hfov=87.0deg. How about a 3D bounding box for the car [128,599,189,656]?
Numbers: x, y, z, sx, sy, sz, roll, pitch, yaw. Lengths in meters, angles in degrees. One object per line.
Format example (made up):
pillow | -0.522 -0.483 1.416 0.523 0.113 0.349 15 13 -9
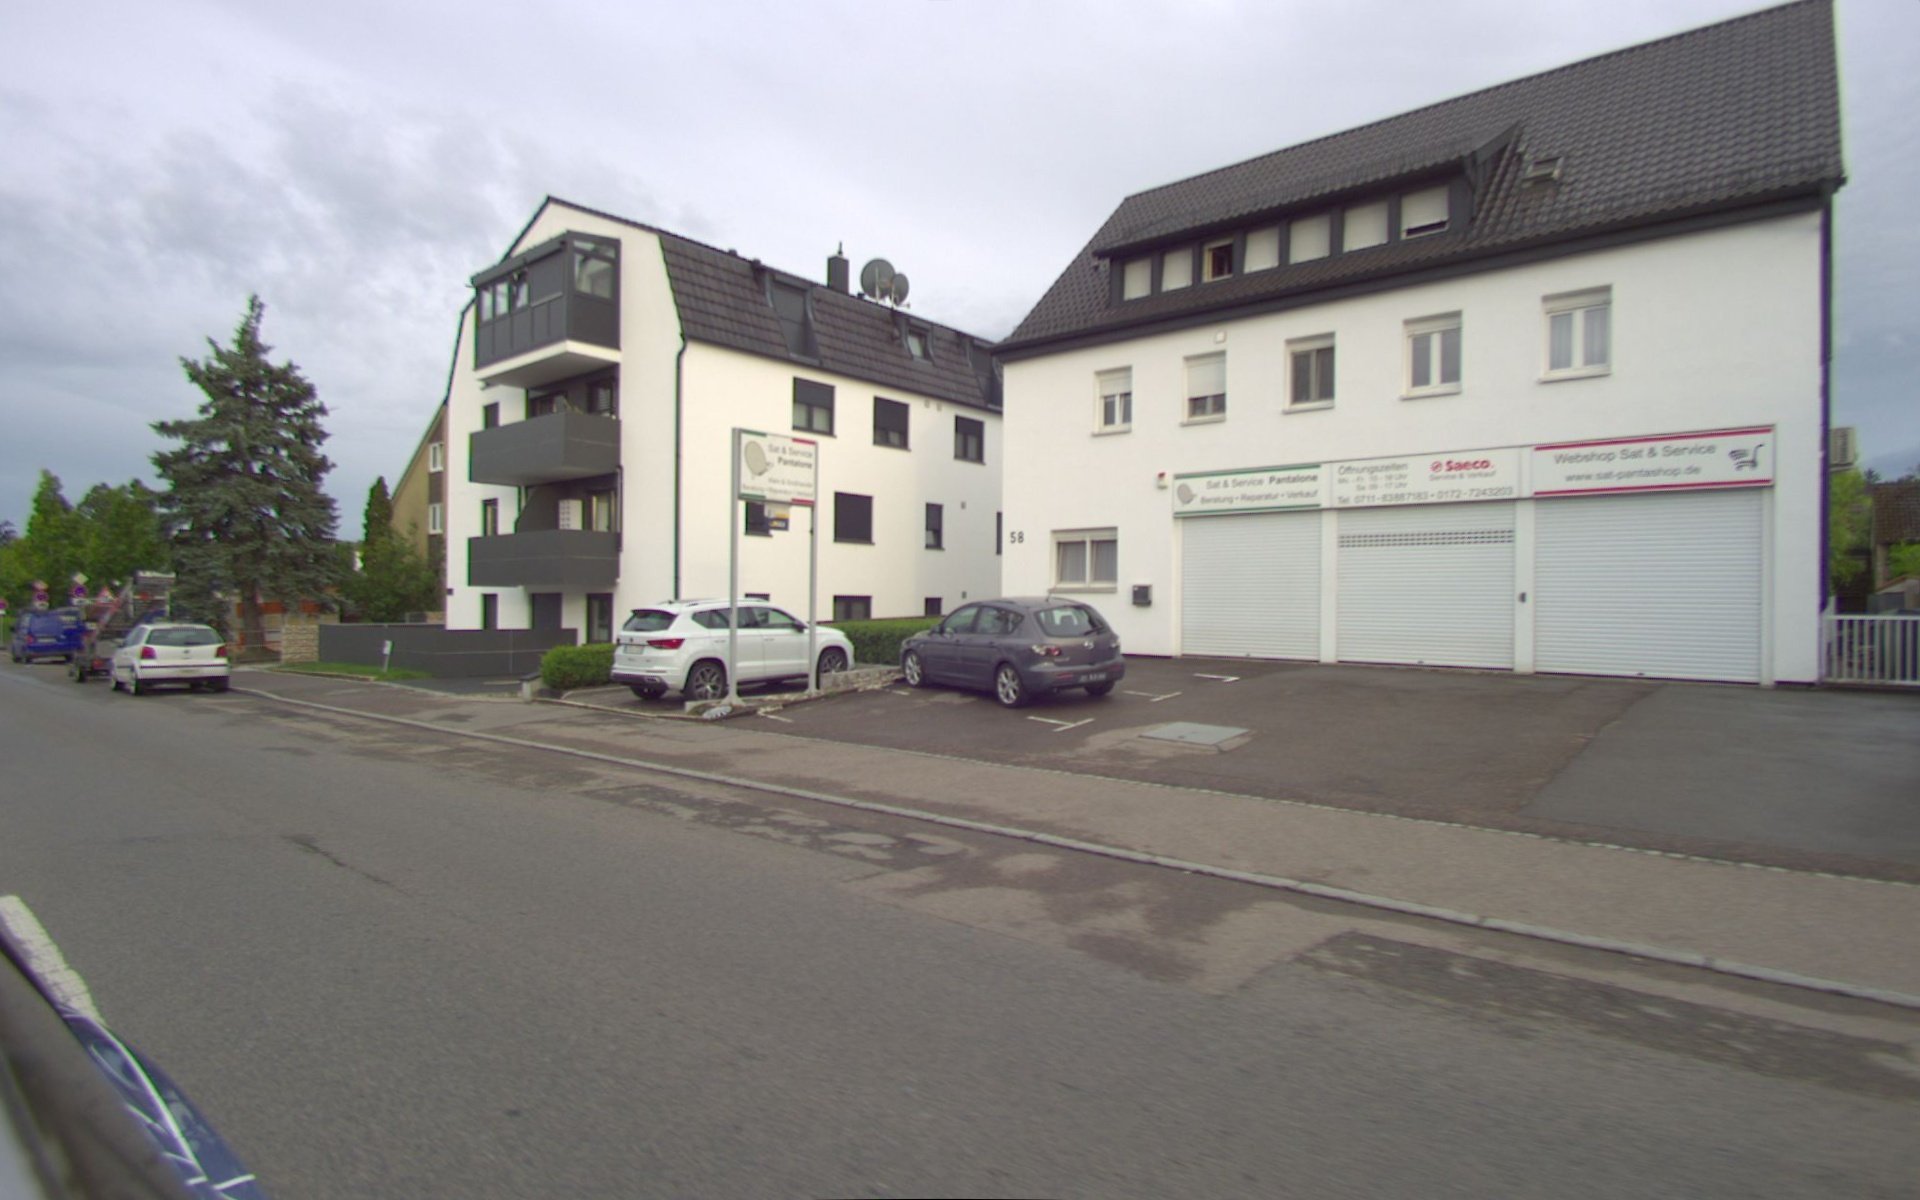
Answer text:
car | -35.278 1.191 44.494 3.594 2.425 1.549 -1 -2 43

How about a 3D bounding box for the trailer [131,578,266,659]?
trailer | -30.573 0.687 40.699 2.168 3.069 4.006 0 0 42

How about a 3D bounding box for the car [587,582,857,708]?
car | -3.870 0.642 16.950 1.998 1.659 3.948 -1 3 39

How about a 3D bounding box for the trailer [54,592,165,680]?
trailer | -22.352 0.879 26.553 4.006 2.142 1.699 0 0 42

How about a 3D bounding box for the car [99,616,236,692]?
car | -17.419 1.114 22.178 3.870 1.516 1.717 -1 -2 42

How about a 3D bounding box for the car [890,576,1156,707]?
car | 0.779 0.492 14.981 1.795 1.541 4.011 -6 4 -33

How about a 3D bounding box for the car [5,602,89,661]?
car | -35.414 1.197 39.199 4.754 2.140 1.972 -1 -2 43
